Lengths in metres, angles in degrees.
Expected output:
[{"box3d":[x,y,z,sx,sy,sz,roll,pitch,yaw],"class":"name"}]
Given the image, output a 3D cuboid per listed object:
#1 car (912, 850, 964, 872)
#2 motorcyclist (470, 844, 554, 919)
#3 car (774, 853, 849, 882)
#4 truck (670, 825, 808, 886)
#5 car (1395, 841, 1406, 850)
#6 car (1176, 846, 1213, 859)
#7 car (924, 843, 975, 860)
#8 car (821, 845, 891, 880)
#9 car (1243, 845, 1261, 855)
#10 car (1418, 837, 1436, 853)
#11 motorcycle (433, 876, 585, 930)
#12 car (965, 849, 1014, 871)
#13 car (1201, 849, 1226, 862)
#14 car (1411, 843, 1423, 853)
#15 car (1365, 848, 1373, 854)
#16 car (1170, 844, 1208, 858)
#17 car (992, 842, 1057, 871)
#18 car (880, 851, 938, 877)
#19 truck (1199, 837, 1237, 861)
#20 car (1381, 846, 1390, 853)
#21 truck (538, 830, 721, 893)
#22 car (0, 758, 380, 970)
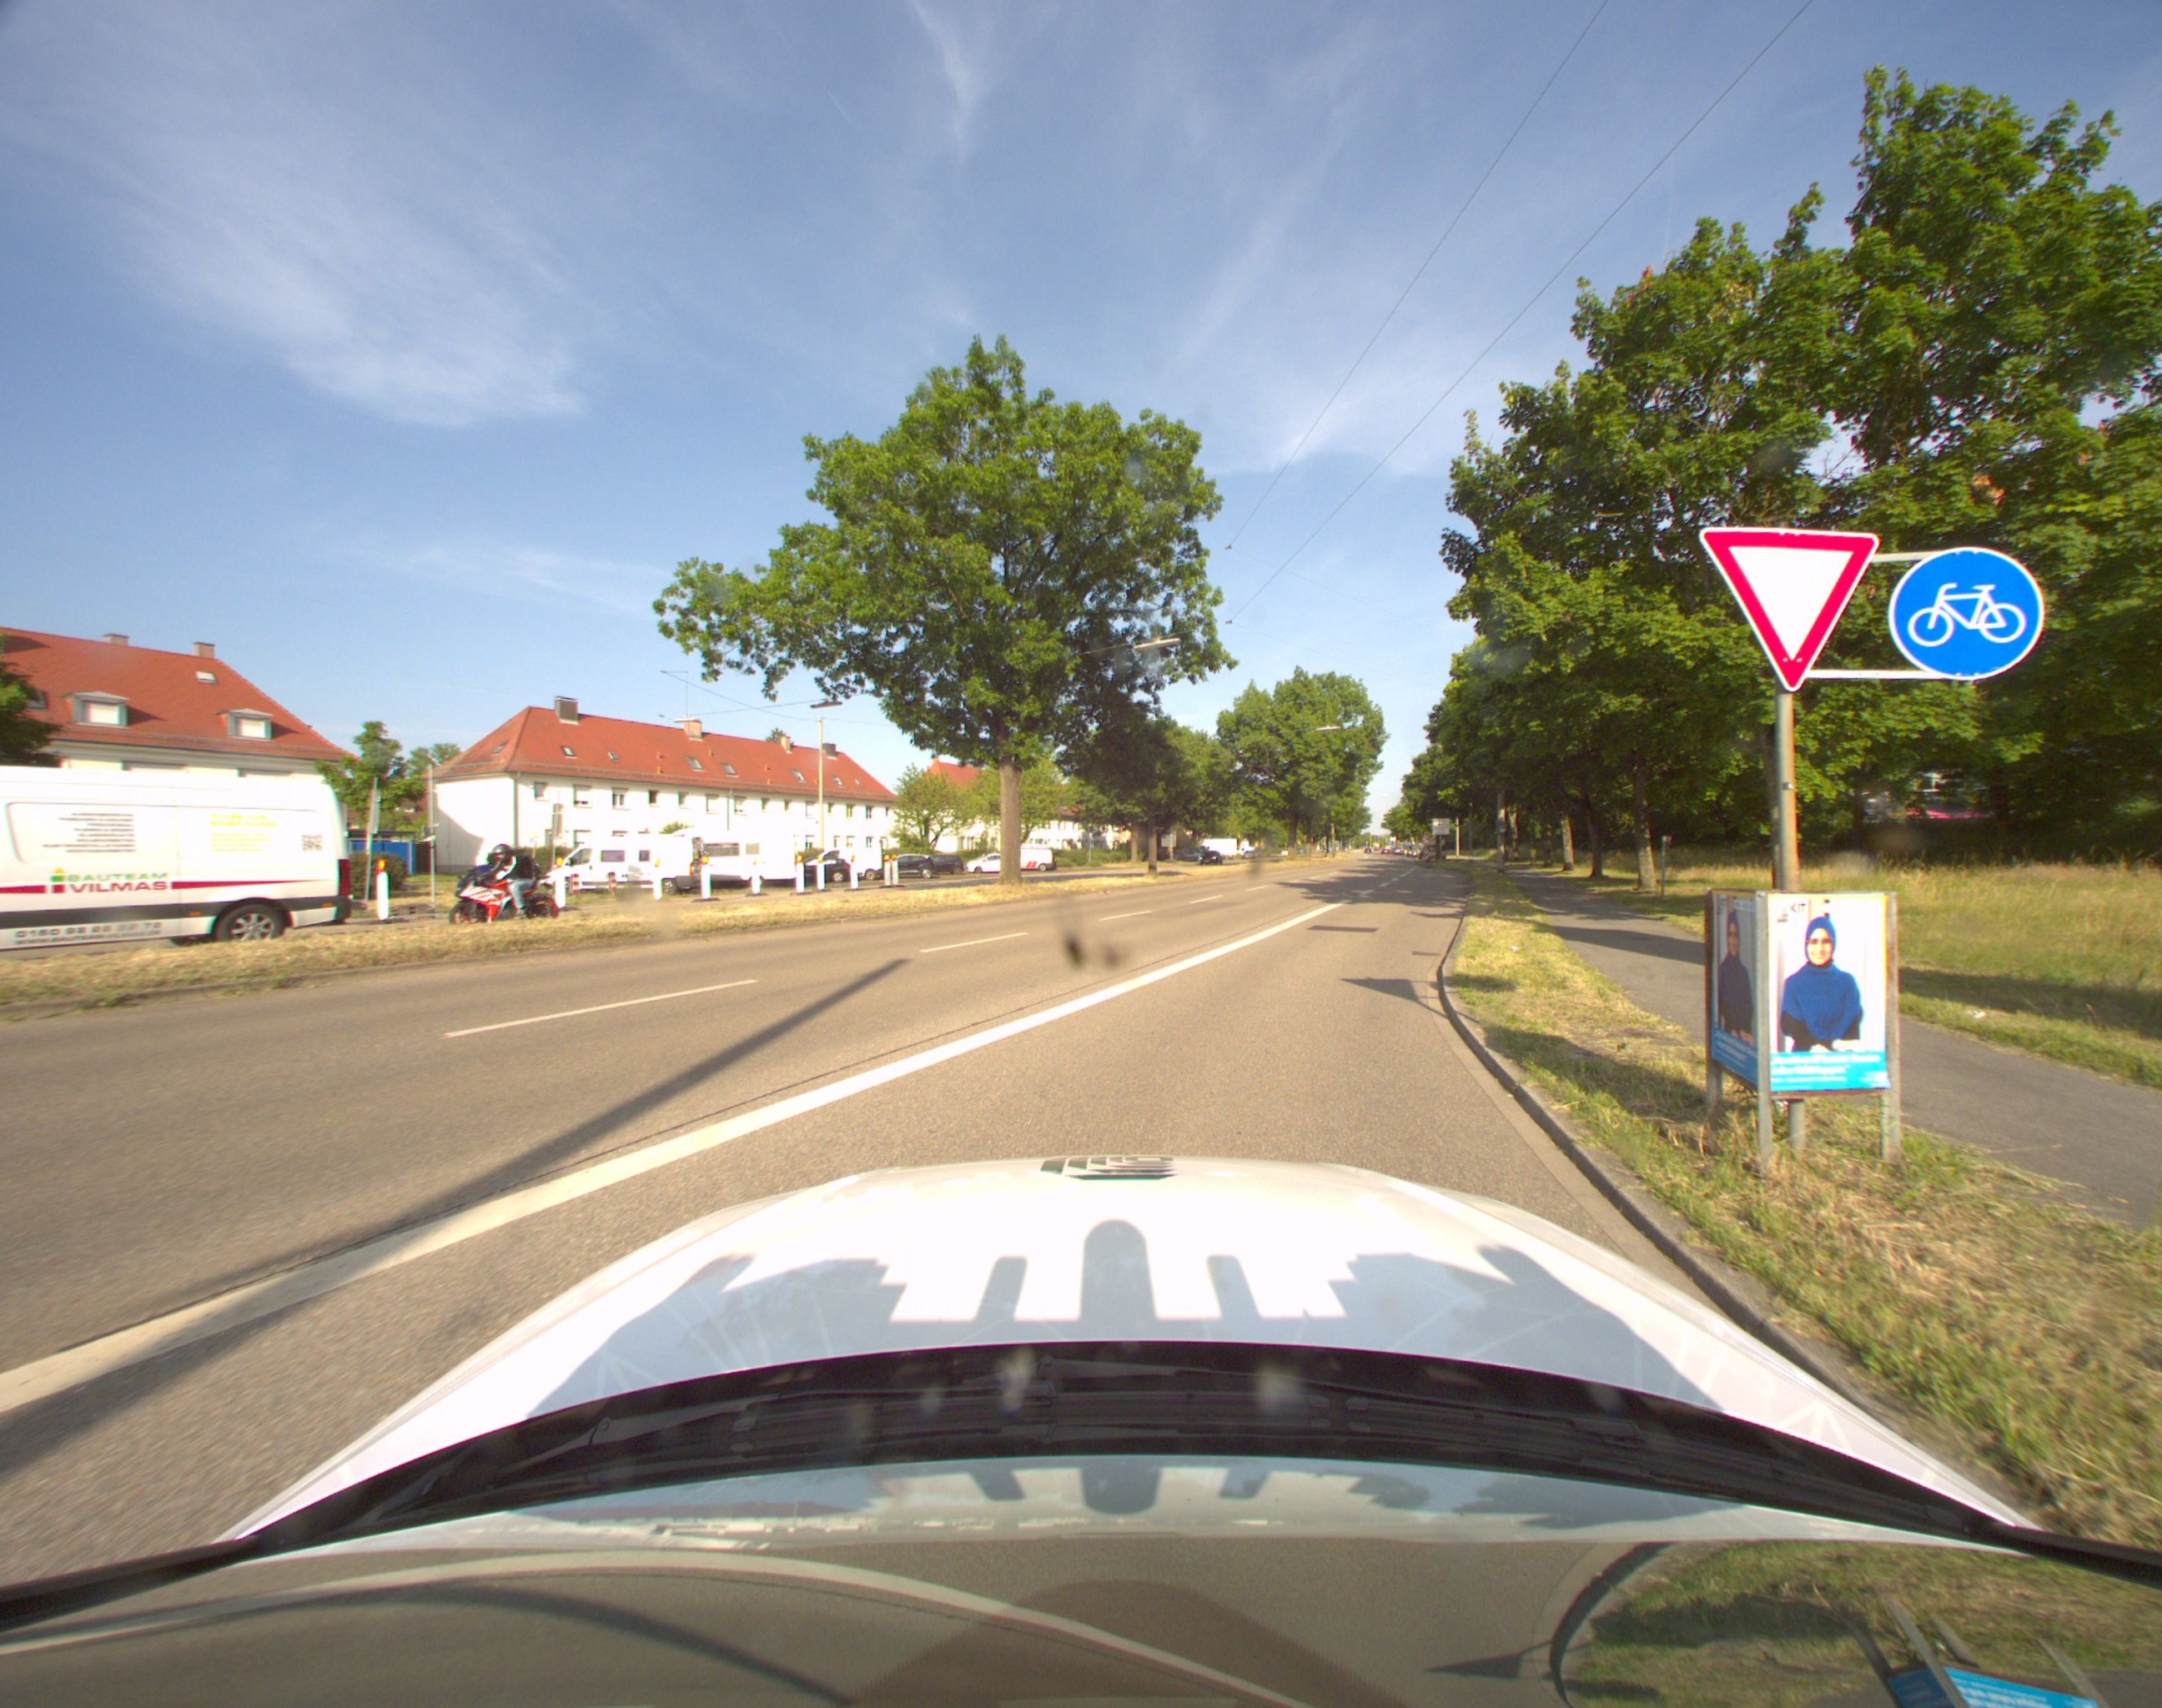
[{"box3d":[-10.199,0.476,58.086,3.429,1.513,1.886,-1,0,-16],"class":"car"},{"box3d":[-10.665,0.493,15.292,0.671,1.352,1.075,-1,0,25],"class":"motorcyclist"},{"box3d":[-15.238,0.743,46.032,3.914,1.456,1.881,-1,0,-24],"class":"car"},{"box3d":[-16.804,0.027,40.344,6.081,2.854,1.883,-1,0,-21],"class":"truck"},{"box3d":[77.794,-2.013,198.318,1.978,2.013,4.017,-1,0,16],"class":"car"},{"box3d":[15.382,-0.184,110.543,4.538,1.723,1.988,-1,0,-18],"class":"car"},{"box3d":[-13.548,-0.261,83.862,4.918,1.719,2.012,-1,0,25],"class":"car"},{"box3d":[-13.557,0.488,49.058,3.910,1.920,1.883,-1,0,-20],"class":"car"},{"box3d":[27.502,-0.700,130.665,1.893,1.451,4.304,-2,-2,25],"class":"car"},{"box3d":[46.489,-1.191,109.486,1.977,2.013,4.151,-1,0,19],"class":"car"},{"box3d":[-10.662,0.877,15.297,0.682,0.866,2.292,-1,0,25],"class":"motorcycle"},{"box3d":[-6.935,0.446,61.439,3.429,1.513,1.886,-1,0,-16],"class":"car"},{"box3d":[14.030,0.122,86.224,1.695,1.353,4.022,-1,0,23],"class":"car"},{"box3d":[65.215,-1.173,158.215,1.977,2.013,4.020,-1,0,20],"class":"car"},{"box3d":[81.434,-0.883,230.484,1.798,1.706,4.016,-1,-2,16],"class":"car"},{"box3d":[14.282,-0.403,107.374,4.538,1.723,1.988,-1,0,-18],"class":"car"},{"box3d":[-4.638,0.195,67.095,4.980,2.232,1.986,-1,0,-20],"class":"car"},{"box3d":[-11.039,0.615,52.324,3.496,1.513,1.886,-1,0,-16],"class":"car"},{"box3d":[20.392,-0.824,121.163,5.513,3.464,1.984,-1,0,-25],"class":"truck"},{"box3d":[77.788,-1.186,208.009,1.798,1.706,4.016,-1,-2,16],"class":"car"},{"box3d":[-18.939,0.285,34.519,6.336,2.524,2.270,0,0,-10],"class":"truck"},{"box3d":[-13.729,0.125,10.915,1.975,2.583,6.265,-1,0,26],"class":"car"}]
